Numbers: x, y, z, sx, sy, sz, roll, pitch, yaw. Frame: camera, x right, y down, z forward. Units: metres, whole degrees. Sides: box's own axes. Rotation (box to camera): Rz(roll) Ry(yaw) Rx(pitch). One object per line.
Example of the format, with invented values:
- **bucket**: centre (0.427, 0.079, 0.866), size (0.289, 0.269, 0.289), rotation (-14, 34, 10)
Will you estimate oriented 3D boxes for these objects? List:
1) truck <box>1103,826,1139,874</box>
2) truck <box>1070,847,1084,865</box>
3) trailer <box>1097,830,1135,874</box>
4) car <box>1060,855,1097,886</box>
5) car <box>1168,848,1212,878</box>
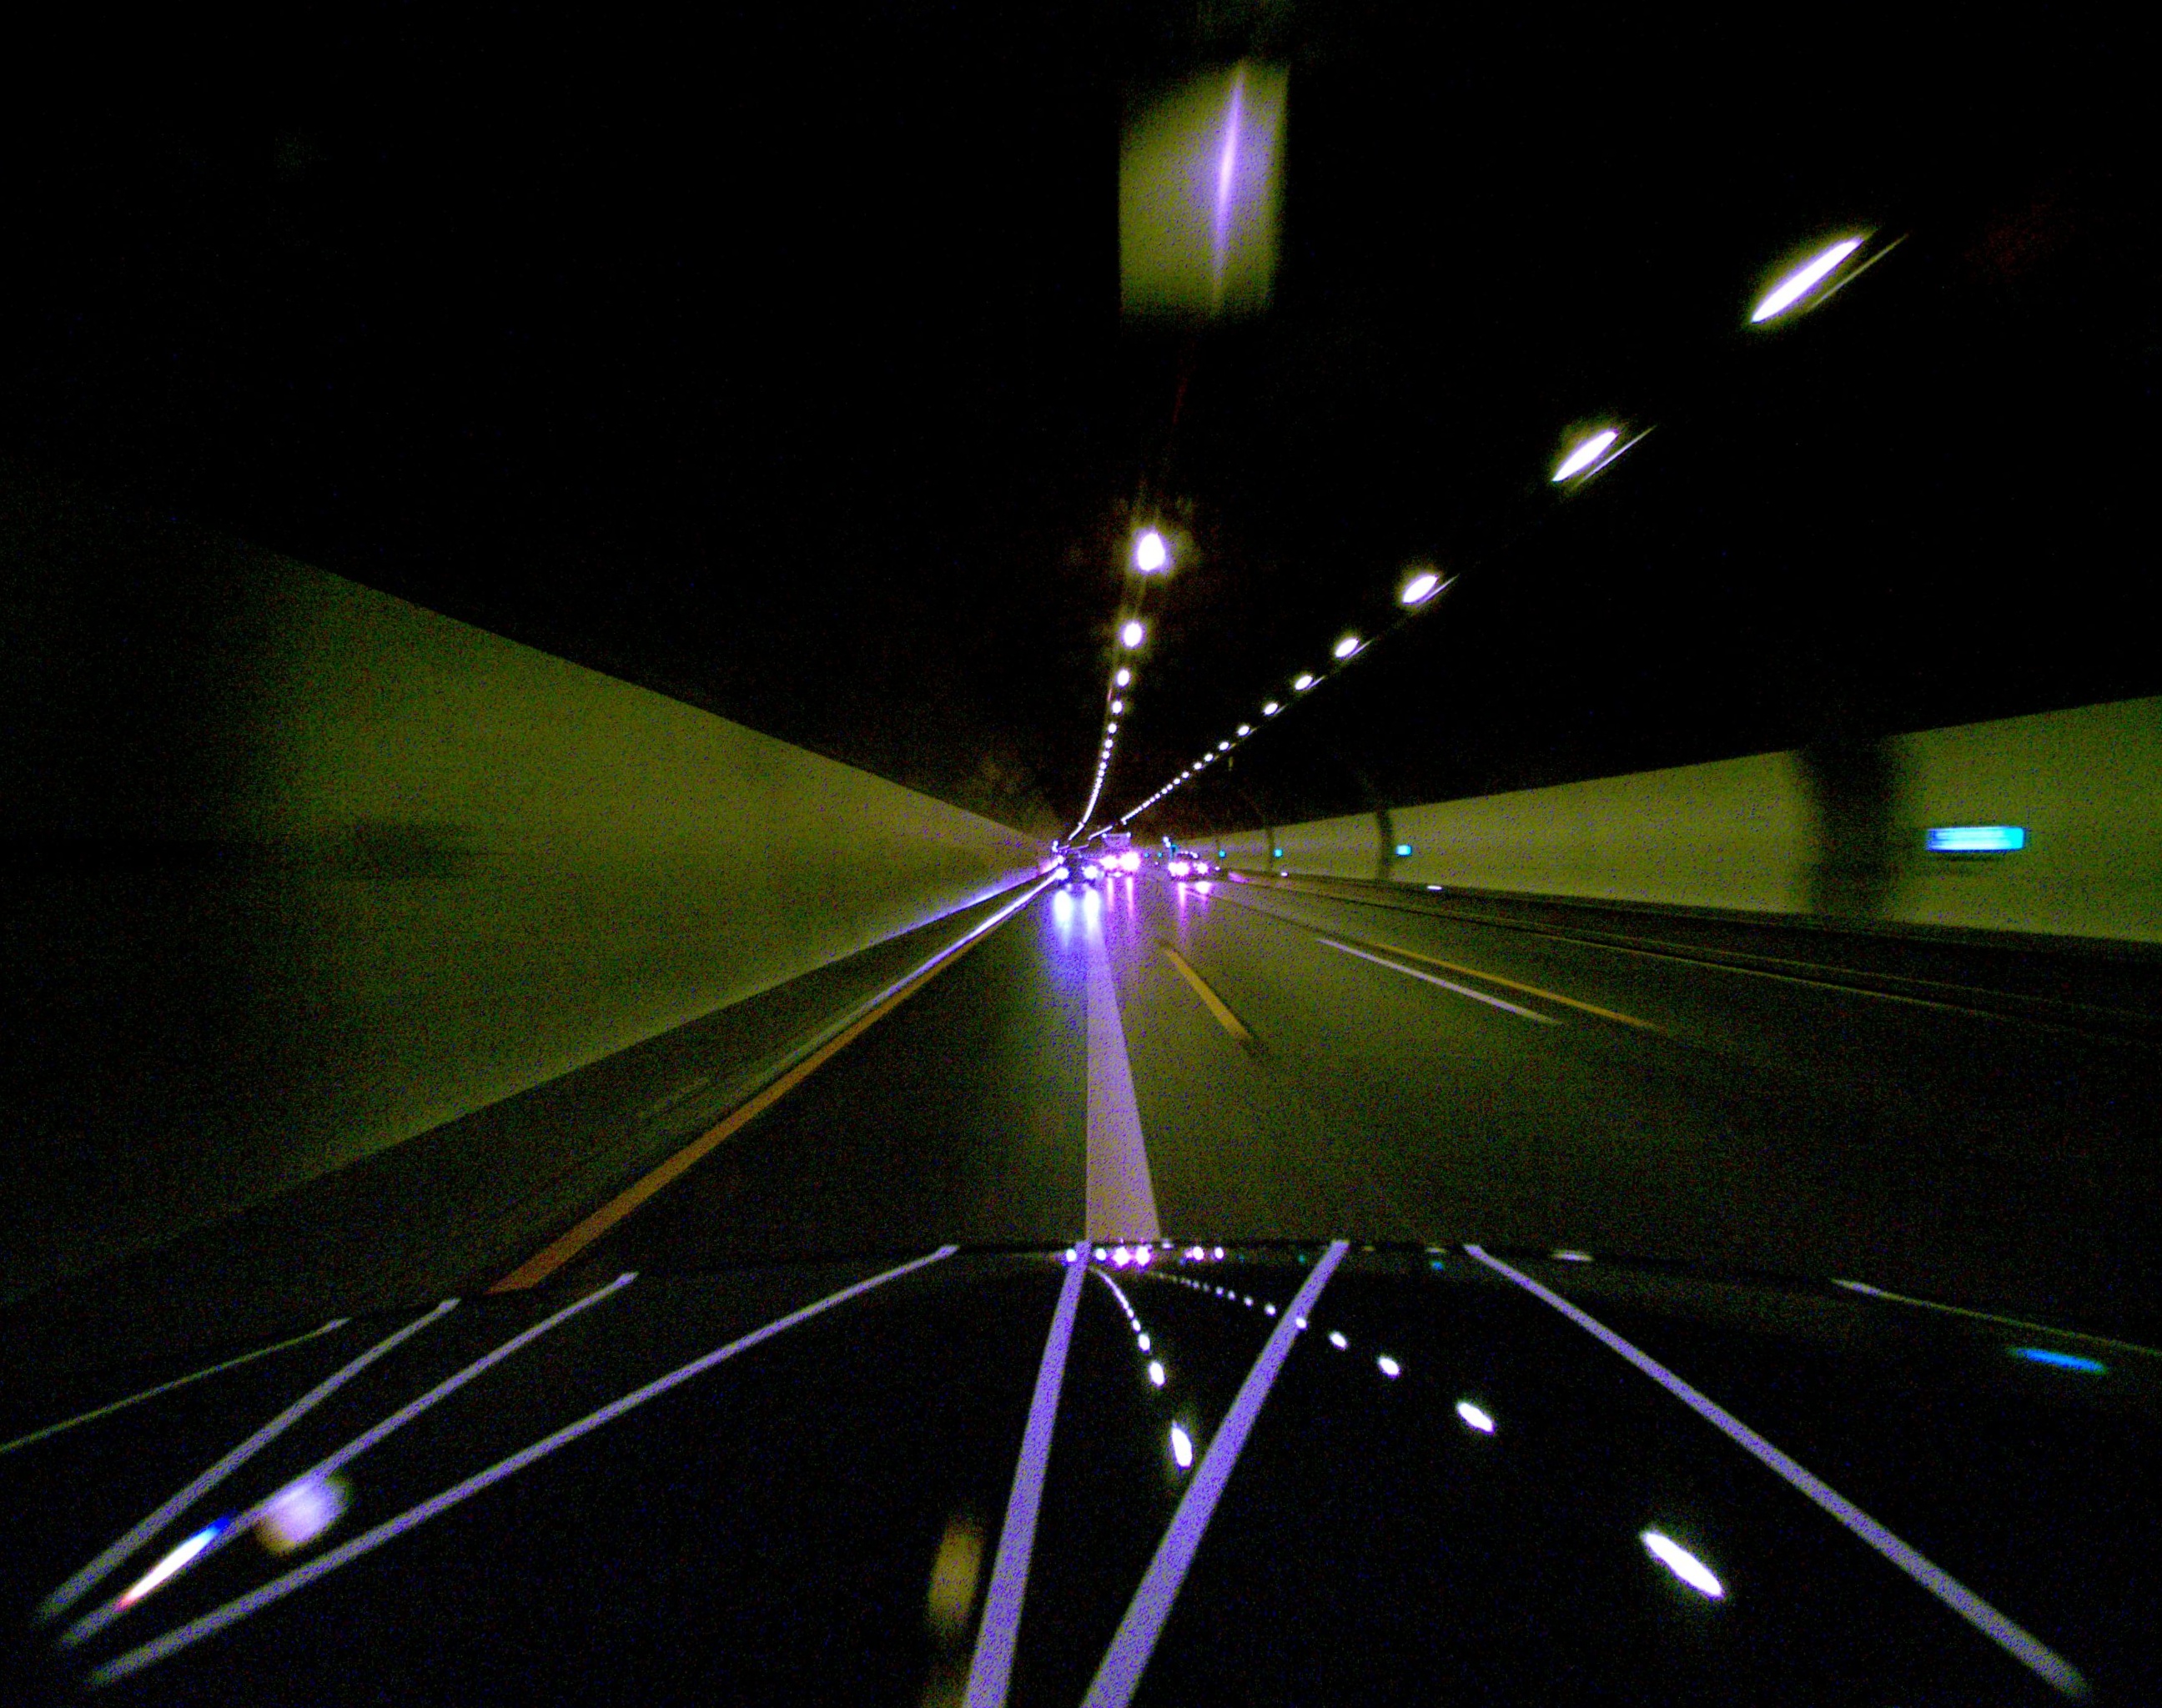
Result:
- **truck**: centre (3.003, -0.326, 57.555), size (2.374, 3.328, 4.719), rotation (-4, 1, 2)
- **truck**: centre (-0.632, 0.334, 124.035), size (2.151, 2.609, 9.908), rotation (-2, -1, 0)
- **trailer**: centre (2.823, -0.159, 64.319), size (2.374, 3.328, 12.076), rotation (-1, 0, -1)
- **car**: centre (-0.102, 0.820, 39.890), size (1.727, 1.474, 4.000), rotation (-2, 0, 2)
- **car**: centre (6.108, 0.470, 42.974), size (1.766, 1.563, 4.096), rotation (-2, 1, -1)
